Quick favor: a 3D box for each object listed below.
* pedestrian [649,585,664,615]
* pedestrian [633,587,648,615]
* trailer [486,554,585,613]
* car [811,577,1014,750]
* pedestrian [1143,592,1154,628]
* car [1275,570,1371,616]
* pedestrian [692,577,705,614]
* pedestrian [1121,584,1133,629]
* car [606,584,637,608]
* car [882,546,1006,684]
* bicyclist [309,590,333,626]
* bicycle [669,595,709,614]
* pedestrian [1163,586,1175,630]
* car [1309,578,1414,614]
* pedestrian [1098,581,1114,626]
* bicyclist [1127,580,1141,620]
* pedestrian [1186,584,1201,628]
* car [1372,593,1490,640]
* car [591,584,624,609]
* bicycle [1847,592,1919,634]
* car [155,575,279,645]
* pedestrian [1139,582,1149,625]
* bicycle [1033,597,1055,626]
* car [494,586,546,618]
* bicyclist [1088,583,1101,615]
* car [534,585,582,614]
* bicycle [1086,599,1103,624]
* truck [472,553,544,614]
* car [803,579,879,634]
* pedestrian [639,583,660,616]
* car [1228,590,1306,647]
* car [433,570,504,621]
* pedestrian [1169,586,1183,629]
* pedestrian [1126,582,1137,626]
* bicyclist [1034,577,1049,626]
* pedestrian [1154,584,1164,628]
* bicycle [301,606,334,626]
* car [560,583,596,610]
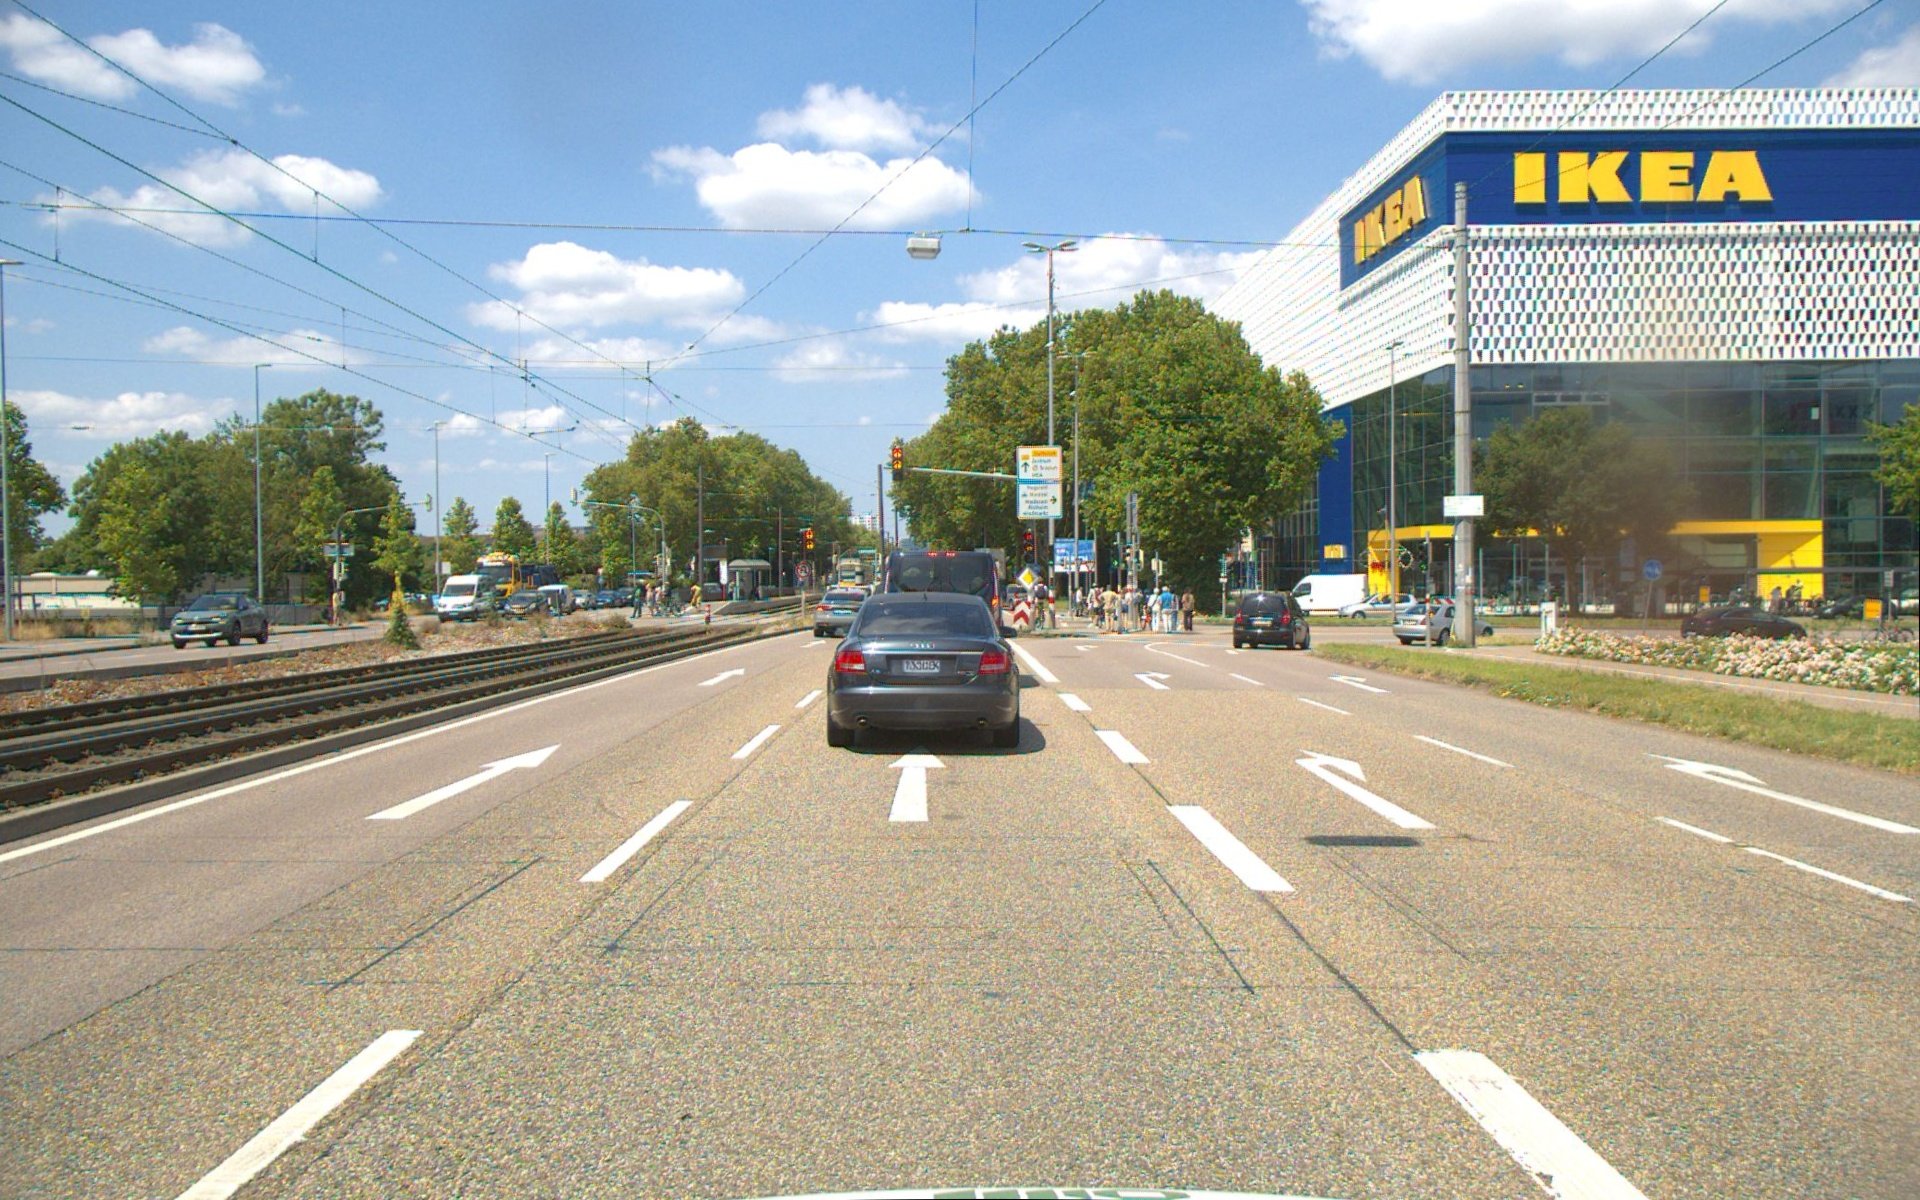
[{"bbox_3d":[-15.880,-0.007,86.586,0.671,1.592,0.572,0,0,-4],"label":"pedestrian"},{"bbox_3d":[-16.504,0.047,85.465,0.671,1.468,0.572,0,0,-4],"label":"pedestrian"},{"bbox_3d":[-27.948,-1.075,109.722,2.711,3.580,15.875,0,0,-1],"label":"trailer"},{"bbox_3d":[-0.433,0.530,16.484,1.756,1.480,4.000,-1,1,-1],"label":"car"},{"bbox_3d":[7.038,0.374,61.863,0.365,1.326,0.365,1,0,2],"label":"pedestrian"},{"bbox_3d":[19.087,-0.380,86.914,4.662,2.349,2.000,1,0,22],"label":"car"},{"bbox_3d":[-14.504,-0.229,91.794,0.672,2.049,0.572,0,0,-5],"label":"pedestrian"},{"bbox_3d":[6.250,0.232,61.916,0.435,1.663,0.430,1,0,2],"label":"pedestrian"},{"bbox_3d":[-27.883,-0.319,136.222,1.781,1.916,3.999,0,0,-1],"label":"car"},{"bbox_3d":[-0.262,0.207,25.946,1.799,1.984,3.999,0,0,-1],"label":"car"},{"bbox_3d":[-32.629,0.410,84.431,1.097,1.805,0.340,1,0,-6],"label":"bicyclist"},{"bbox_3d":[-13.944,0.246,85.029,2.019,0.941,0.751,0,0,-11],"label":"bicycle"},{"bbox_3d":[7.820,0.299,61.817,0.389,1.663,0.371,1,0,2],"label":"pedestrian"},{"bbox_3d":[18.575,-0.203,76.742,4.403,1.512,2.001,2,1,3],"label":"car"},{"bbox_3d":[5.474,0.116,61.964,0.542,1.663,0.433,1,0,2],"label":"pedestrian"},{"bbox_3d":[7.764,0.009,73.778,0.517,1.795,0.828,0,0,13],"label":"bicyclist"},{"bbox_3d":[9.012,0.229,63.908,0.510,1.699,0.494,1,0,2],"label":"pedestrian"},{"bbox_3d":[16.271,0.571,57.119,4.128,1.512,1.971,1,1,-41],"label":"car"},{"bbox_3d":[-27.890,-0.300,130.829,1.781,1.916,3.999,0,0,-1],"label":"car"},{"bbox_3d":[34.148,0.461,60.942,2.372,1.507,0.989,1,0,4],"label":"bicycle"},{"bbox_3d":[-22.236,0.250,49.680,1.954,1.951,4.407,1,1,-4],"label":"car"},{"bbox_3d":[7.108,0.135,63.940,0.332,1.663,0.377,1,0,2],"label":"pedestrian"},{"bbox_3d":[3.142,0.424,62.254,0.673,1.011,2.751,1,1,0],"label":"bicycle"},{"bbox_3d":[-24.674,0.082,92.885,1.785,1.699,4.461,1,1,-1],"label":"car"},{"bbox_3d":[5.180,-0.034,63.898,0.461,1.214,0.791,0,0,2],"label":"bicyclist"},{"bbox_3d":[-24.663,-0.038,101.628,1.785,1.699,4.462,1,1,1],"label":"car"},{"bbox_3d":[5.154,0.437,63.494,0.538,0.892,1.698,1,0,2],"label":"bicycle"},{"bbox_3d":[-27.825,-1.015,102.011,2.711,3.631,6.439,0,0,-1],"label":"truck"},{"bbox_3d":[-3.499,0.158,49.257,1.953,1.512,4.000,2,1,-1],"label":"car"},{"bbox_3d":[-16.551,-0.053,88.280,0.806,1.750,0.775,1,0,21],"label":"pedestrian"},{"bbox_3d":[8.943,0.507,47.972,1.951,1.512,4.003,2,1,14],"label":"car"},{"bbox_3d":[-27.616,-0.302,93.090,2.198,2.634,6.233,-2,1,-2],"label":"car"},{"bbox_3d":[8.358,0.281,63.923,0.493,1.663,0.449,1,0,2],"label":"pedestrian"},{"bbox_3d":[6.642,0.149,64.014,0.373,1.663,0.377,1,0,2],"label":"pedestrian"},{"bbox_3d":[3.070,0.039,62.134,0.518,1.820,1.088,0,0,0],"label":"bicyclist"},{"bbox_3d":[7.434,0.219,61.835,0.314,1.663,0.377,1,0,2],"label":"pedestrian"},{"bbox_3d":[-32.805,0.809,84.431,1.461,1.004,0.485,1,0,-5],"label":"bicycle"},{"bbox_3d":[-27.987,-0.259,121.181,1.781,1.916,3.999,0,0,-1],"label":"car"}]
